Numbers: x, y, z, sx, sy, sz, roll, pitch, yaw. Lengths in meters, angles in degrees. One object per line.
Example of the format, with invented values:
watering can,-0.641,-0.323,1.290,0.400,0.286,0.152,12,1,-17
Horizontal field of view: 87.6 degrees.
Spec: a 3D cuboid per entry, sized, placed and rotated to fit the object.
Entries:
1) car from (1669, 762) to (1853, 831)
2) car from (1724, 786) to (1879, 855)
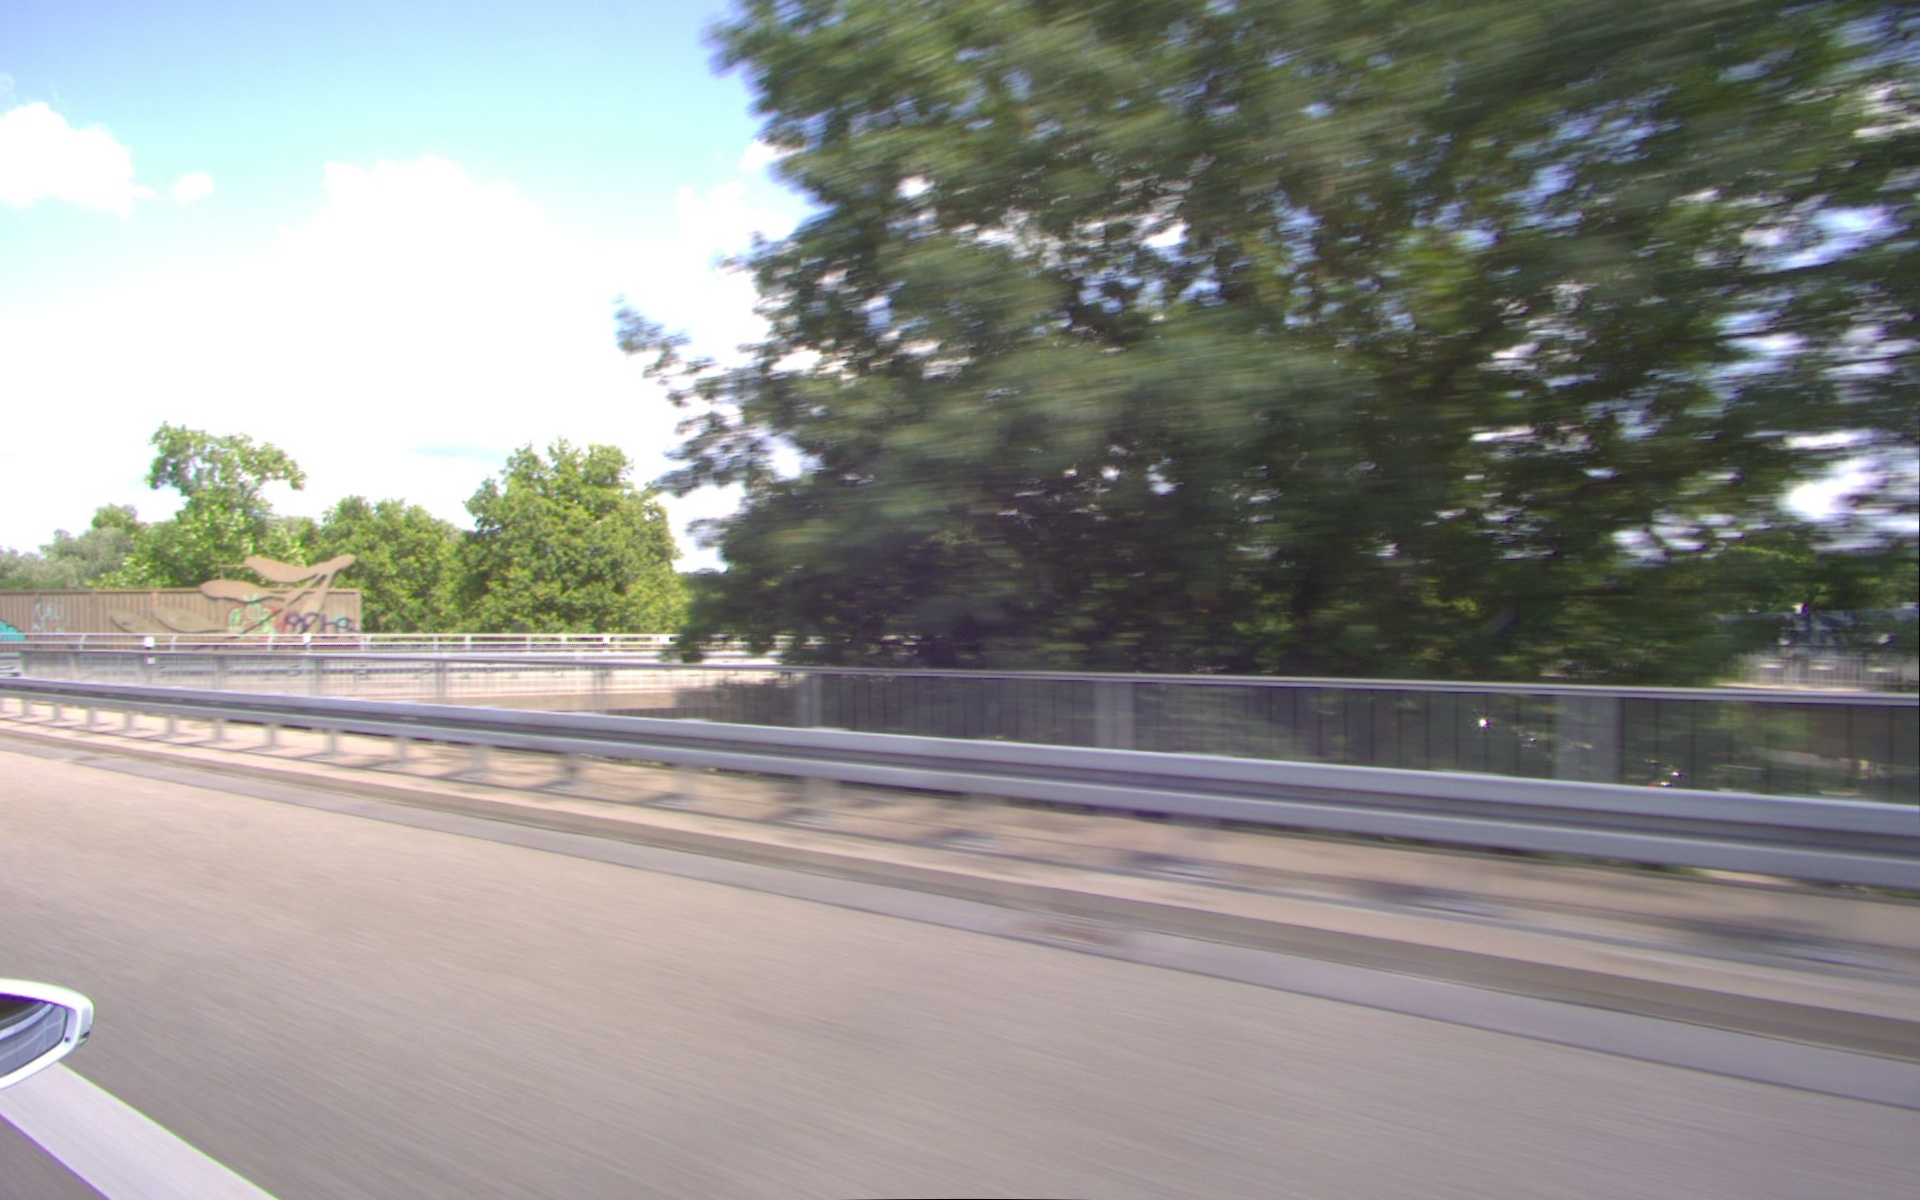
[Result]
car,32.295,7.906,40.523,5.468,2.345,2.232,0,-1,5
car,31.403,8.225,37.513,3.925,2.039,1.999,0,-1,13
